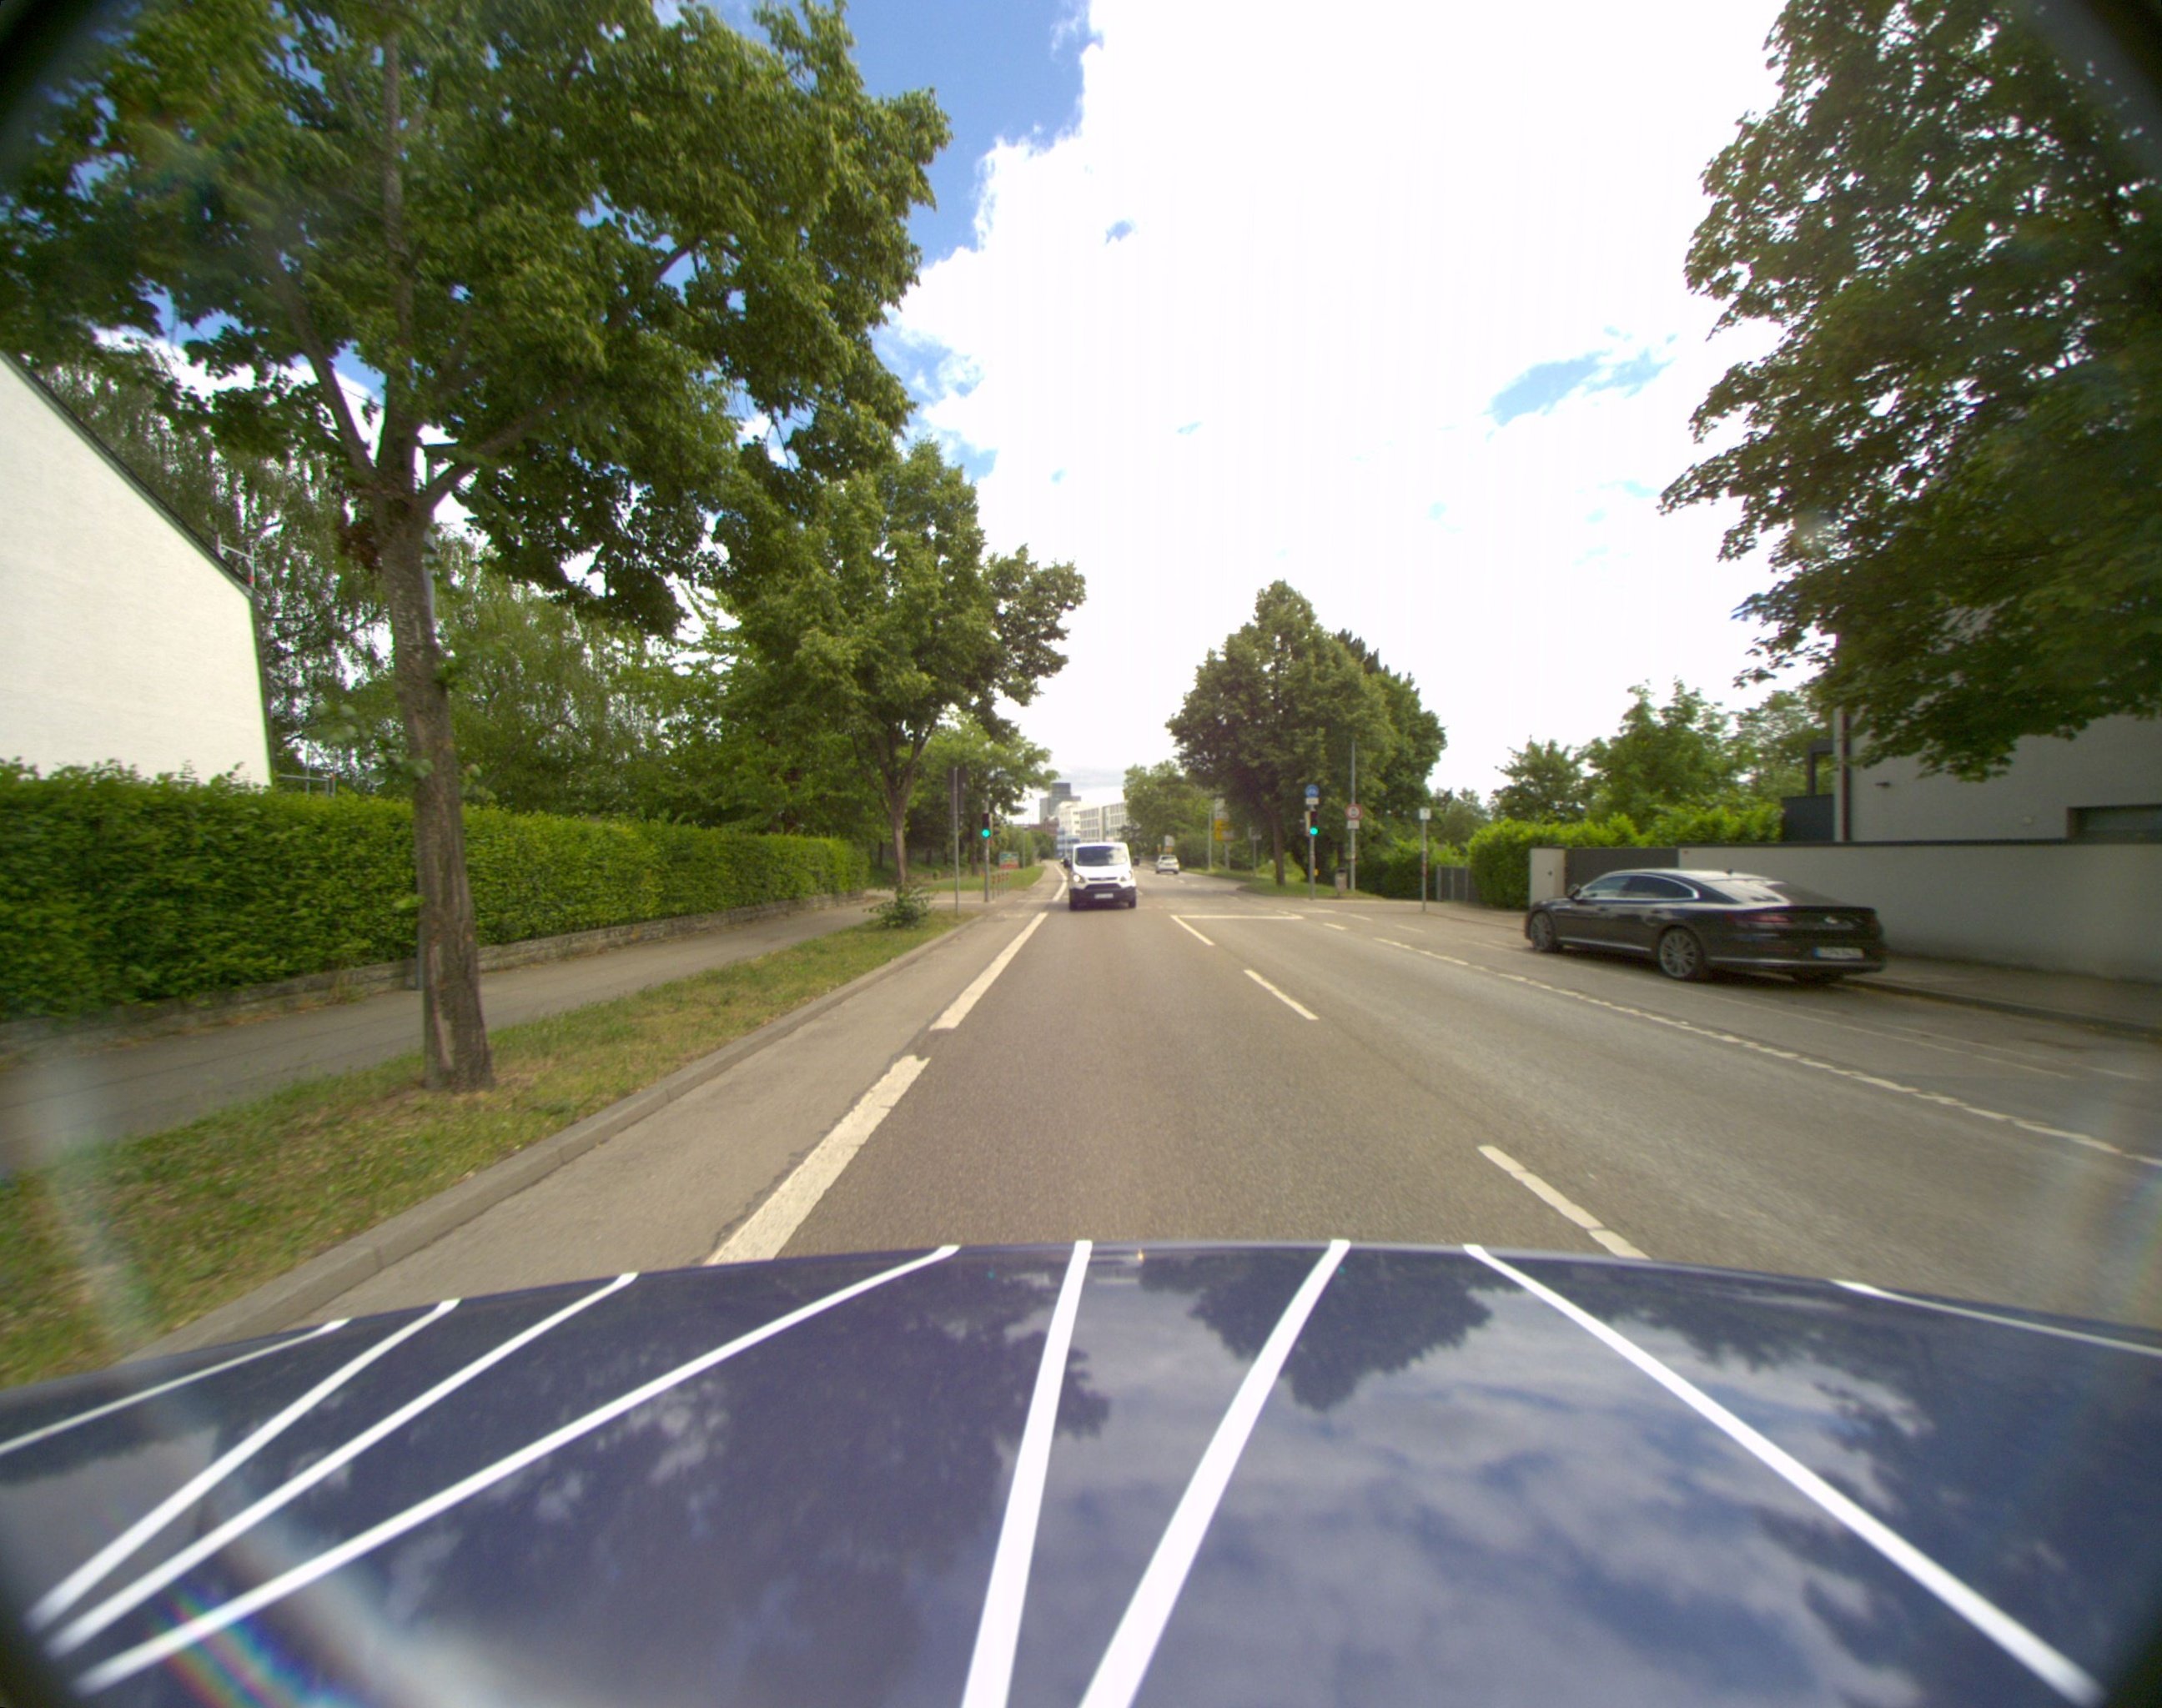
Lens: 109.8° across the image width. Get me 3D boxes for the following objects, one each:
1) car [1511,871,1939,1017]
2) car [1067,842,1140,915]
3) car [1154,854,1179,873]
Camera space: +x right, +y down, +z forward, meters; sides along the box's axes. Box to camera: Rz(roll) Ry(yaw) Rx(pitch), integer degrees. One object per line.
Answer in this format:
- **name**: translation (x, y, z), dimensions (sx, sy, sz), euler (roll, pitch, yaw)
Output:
- **car**: translation (8.269, 1.019, 10.572), dimensions (1.750, 1.400, 4.927), euler (1, 0, 0)
- **car**: translation (0.675, 0.680, 24.009), dimensions (1.998, 2.002, 5.188), euler (-2, 1, 1)
- **car**: translation (7.452, 0.789, 66.662), dimensions (1.786, 1.622, 4.000), euler (0, 0, 1)
